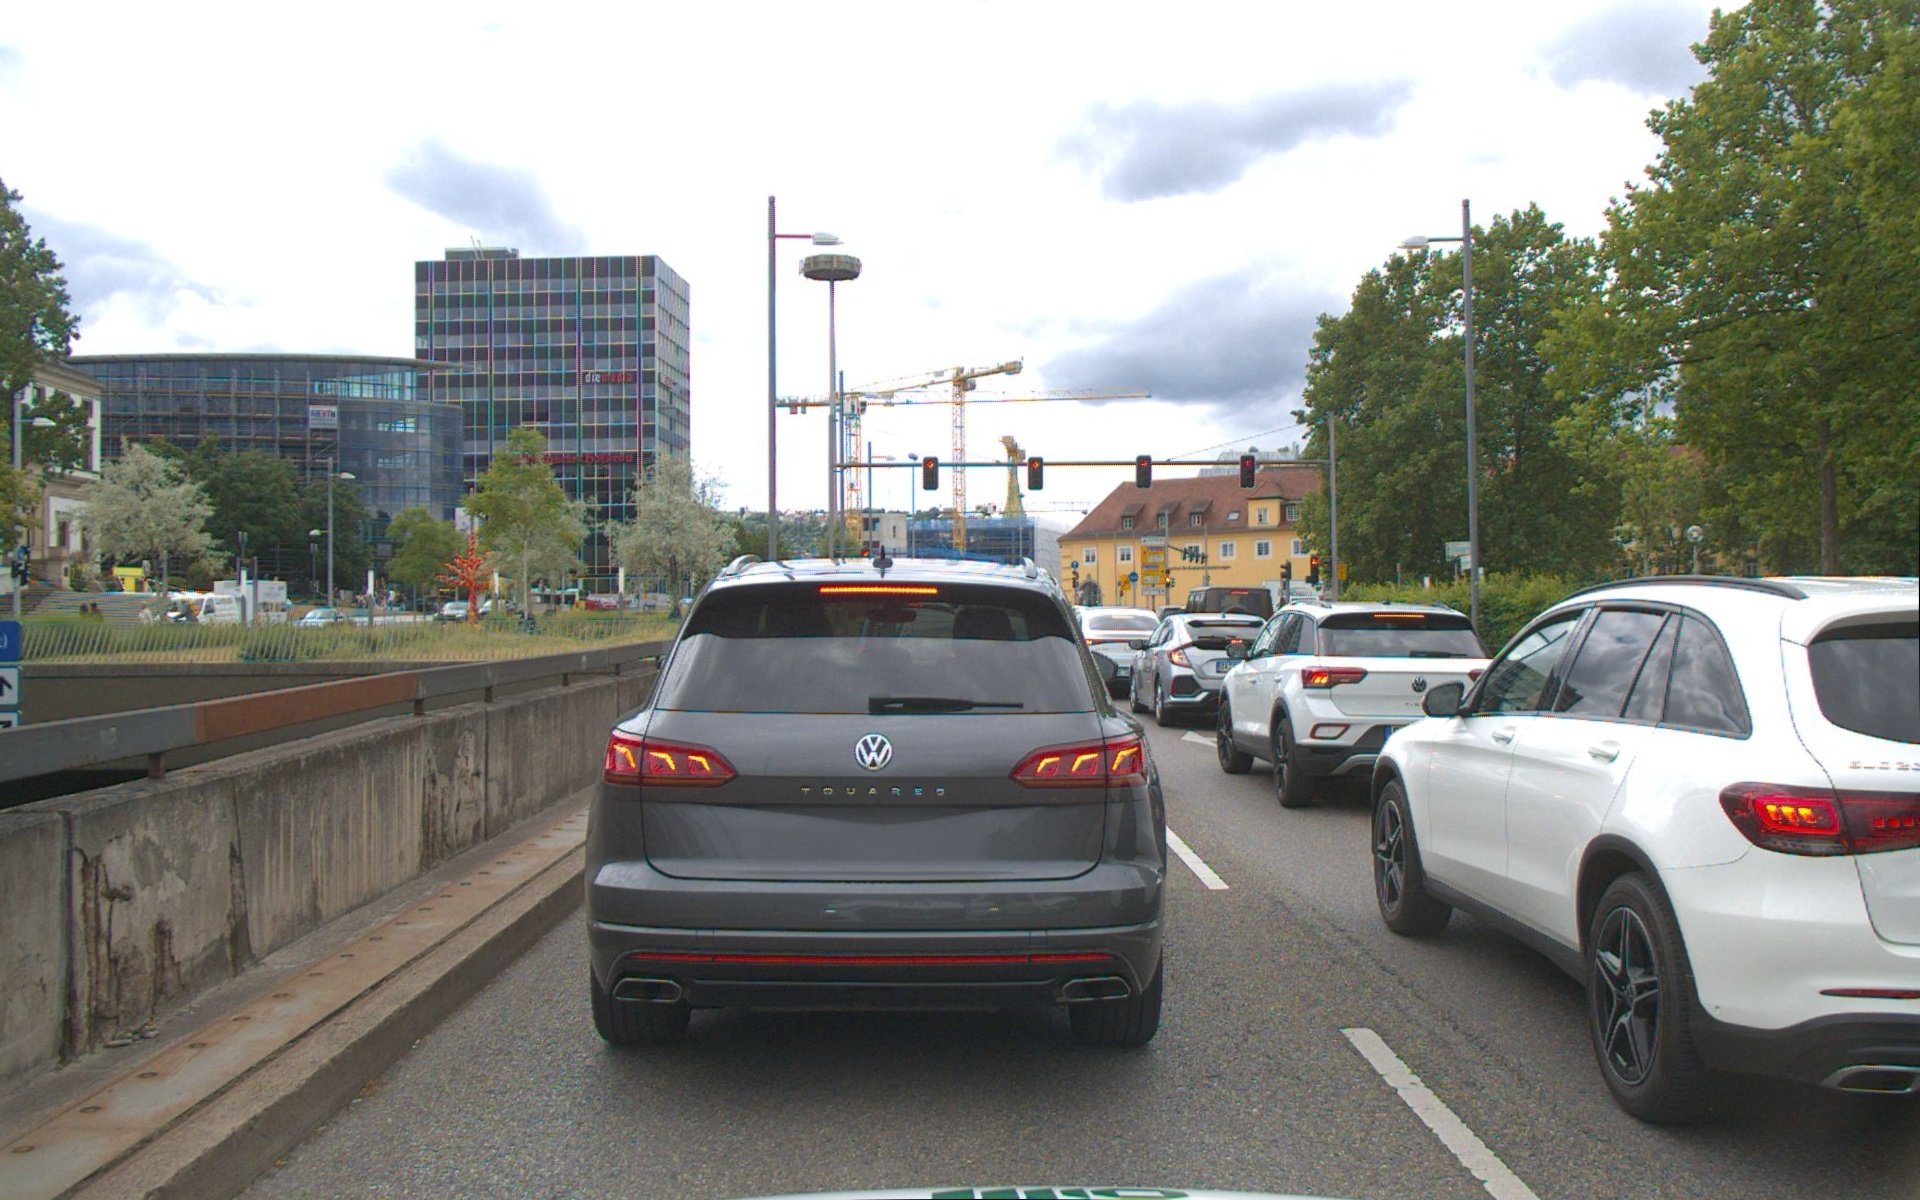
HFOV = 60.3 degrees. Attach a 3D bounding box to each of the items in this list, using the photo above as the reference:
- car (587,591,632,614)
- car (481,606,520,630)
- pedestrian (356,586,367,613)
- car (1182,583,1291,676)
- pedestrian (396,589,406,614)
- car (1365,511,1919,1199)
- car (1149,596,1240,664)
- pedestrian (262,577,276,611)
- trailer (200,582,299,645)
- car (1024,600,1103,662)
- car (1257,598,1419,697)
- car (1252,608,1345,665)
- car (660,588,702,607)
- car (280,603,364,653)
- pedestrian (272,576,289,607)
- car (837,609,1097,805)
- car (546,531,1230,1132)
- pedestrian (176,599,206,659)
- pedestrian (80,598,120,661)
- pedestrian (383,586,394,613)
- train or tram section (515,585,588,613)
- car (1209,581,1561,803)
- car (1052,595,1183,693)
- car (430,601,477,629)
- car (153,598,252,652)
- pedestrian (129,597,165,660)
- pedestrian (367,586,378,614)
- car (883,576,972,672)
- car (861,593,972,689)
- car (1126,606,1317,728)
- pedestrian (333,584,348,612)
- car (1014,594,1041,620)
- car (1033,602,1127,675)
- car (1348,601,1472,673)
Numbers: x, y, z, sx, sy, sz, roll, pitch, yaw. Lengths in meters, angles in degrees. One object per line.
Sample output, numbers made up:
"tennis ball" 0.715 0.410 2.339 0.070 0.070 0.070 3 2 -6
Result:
"car" -33.596 0.221 158.330 4.610 2.048 1.987 1 2 43
"car" -30.565 1.200 110.127 1.697 1.521 3.592 2 -1 -3
"pedestrian" -44.847 -0.050 123.989 0.727 2.049 0.915 -1 1 -20
"car" 6.483 0.686 39.201 1.871 2.049 4.011 2 -1 0
"pedestrian" -46.362 0.115 137.171 0.726 2.049 0.789 -1 1 -16
"car" 2.987 0.639 6.171 1.887 1.682 4.489 0 0 0
"car" 6.304 0.799 44.777 1.871 1.727 4.011 2 -1 0
"pedestrian" -42.992 -0.360 102.843 0.727 2.049 0.789 0 -2 -19
"trailer" -31.587 0.542 73.724 1.996 2.650 5.507 2 1 -1
"car" 2.708 0.820 44.062 1.887 1.556 4.047 1 -1 0
"car" 6.728 0.796 29.922 1.953 1.668 4.304 0 0 0
"car" 9.349 0.981 45.910 1.722 1.472 3.632 2 -1 -2
"car" -30.885 -0.281 182.953 4.367 2.049 1.994 1 -2 33
"car" -28.583 1.236 74.288 1.953 2.048 4.692 0 1 0
"pedestrian" -44.221 -0.554 107.623 0.724 2.049 1.113 -1 1 -6
"car" 0.020 0.814 14.388 1.912 1.408 3.930 2 0 -1
"car" -0.231 0.656 6.649 1.912 1.680 3.999 0 0 -1
"pedestrian" -27.121 1.020 58.332 0.716 2.047 0.628 -1 4 -8
"pedestrian" -28.153 0.954 54.157 0.773 2.049 0.837 -1 0 10
"pedestrian" -44.273 -0.049 128.128 0.726 2.049 0.789 -1 1 -16
"train or tram section" -47.501 -0.124 192.295 8.750 3.062 2.593 1 -2 28
"car" 3.395 0.692 14.135 1.887 1.578 4.489 1 -1 0
"car" 2.670 0.739 28.954 1.887 1.556 4.489 1 -1 0
"car" -29.371 0.881 95.999 1.697 1.521 3.592 2 -1 -3
"car" -31.370 0.994 68.627 1.953 2.048 4.692 0 1 0
"pedestrian" -26.910 0.938 54.779 0.616 2.049 0.860 0 1 35
"pedestrian" -44.201 -0.019 124.500 0.727 2.049 0.915 -1 1 -20
"car" -0.754 0.533 38.541 1.912 2.053 3.930 2 0 -1
"car" -0.799 0.726 31.005 1.912 1.628 3.930 2 0 -1
"car" 3.386 0.840 22.239 1.887 1.457 4.489 1 -1 0
"pedestrian" -45.711 -0.172 122.039 0.723 2.049 0.793 -1 1 0
"car" 4.543 0.505 111.509 1.586 1.656 3.999 2 -1 0
"car" 2.686 0.852 37.773 1.887 1.556 4.047 1 -1 0
"car" 10.046 0.837 37.227 1.891 1.485 4.529 1 -1 5
